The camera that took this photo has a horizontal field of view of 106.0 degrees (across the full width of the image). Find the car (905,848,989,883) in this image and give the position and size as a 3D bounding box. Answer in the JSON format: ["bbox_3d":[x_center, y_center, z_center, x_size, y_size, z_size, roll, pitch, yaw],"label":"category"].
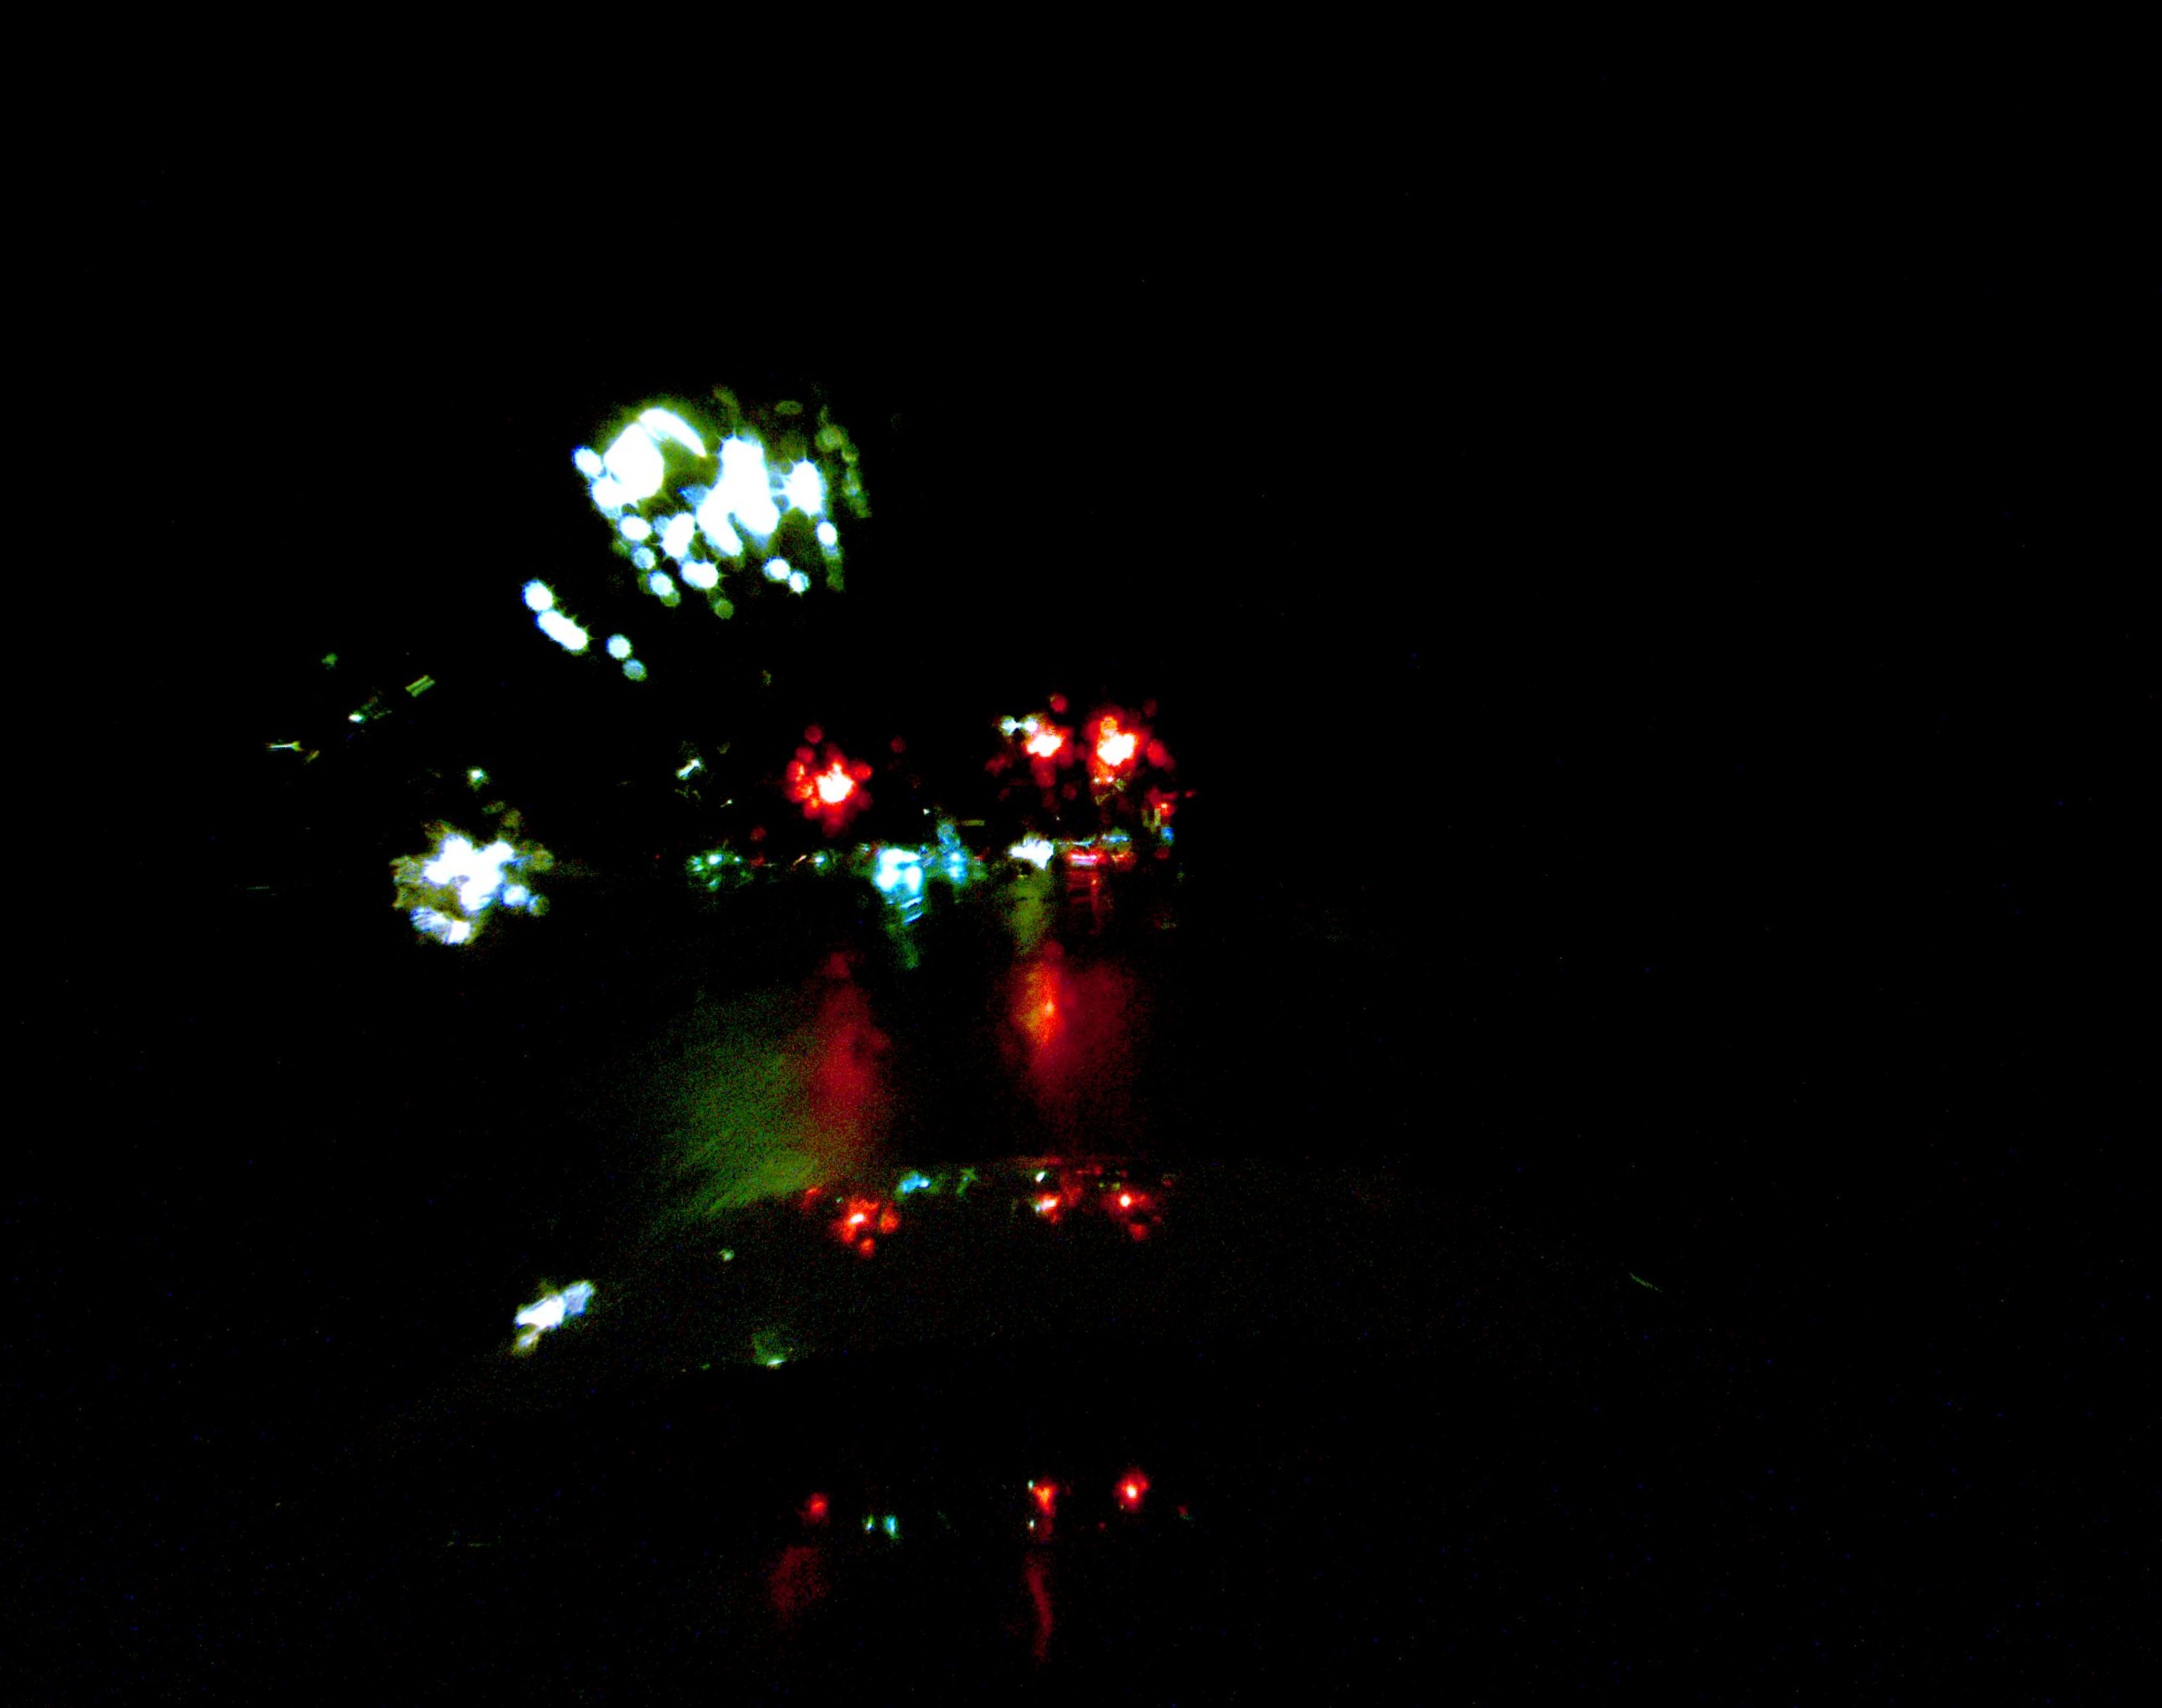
[{"bbox_3d":[-6.788,0.559,41.721,3.978,1.662,1.998,-2,0,-3],"label":"car"}]

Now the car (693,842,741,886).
[{"bbox_3d":[-18.242,0.480,40.714,2.004,2.013,3.965,-2,0,-27],"label":"car"}]

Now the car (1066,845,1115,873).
[{"bbox_3d":[0.644,0.280,51.795,1.978,1.662,4.018,-2,0,18],"label":"car"}]

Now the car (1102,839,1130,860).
[{"bbox_3d":[2.647,-0.333,60.594,1.953,1.428,3.937,-2,0,4],"label":"car"}]
